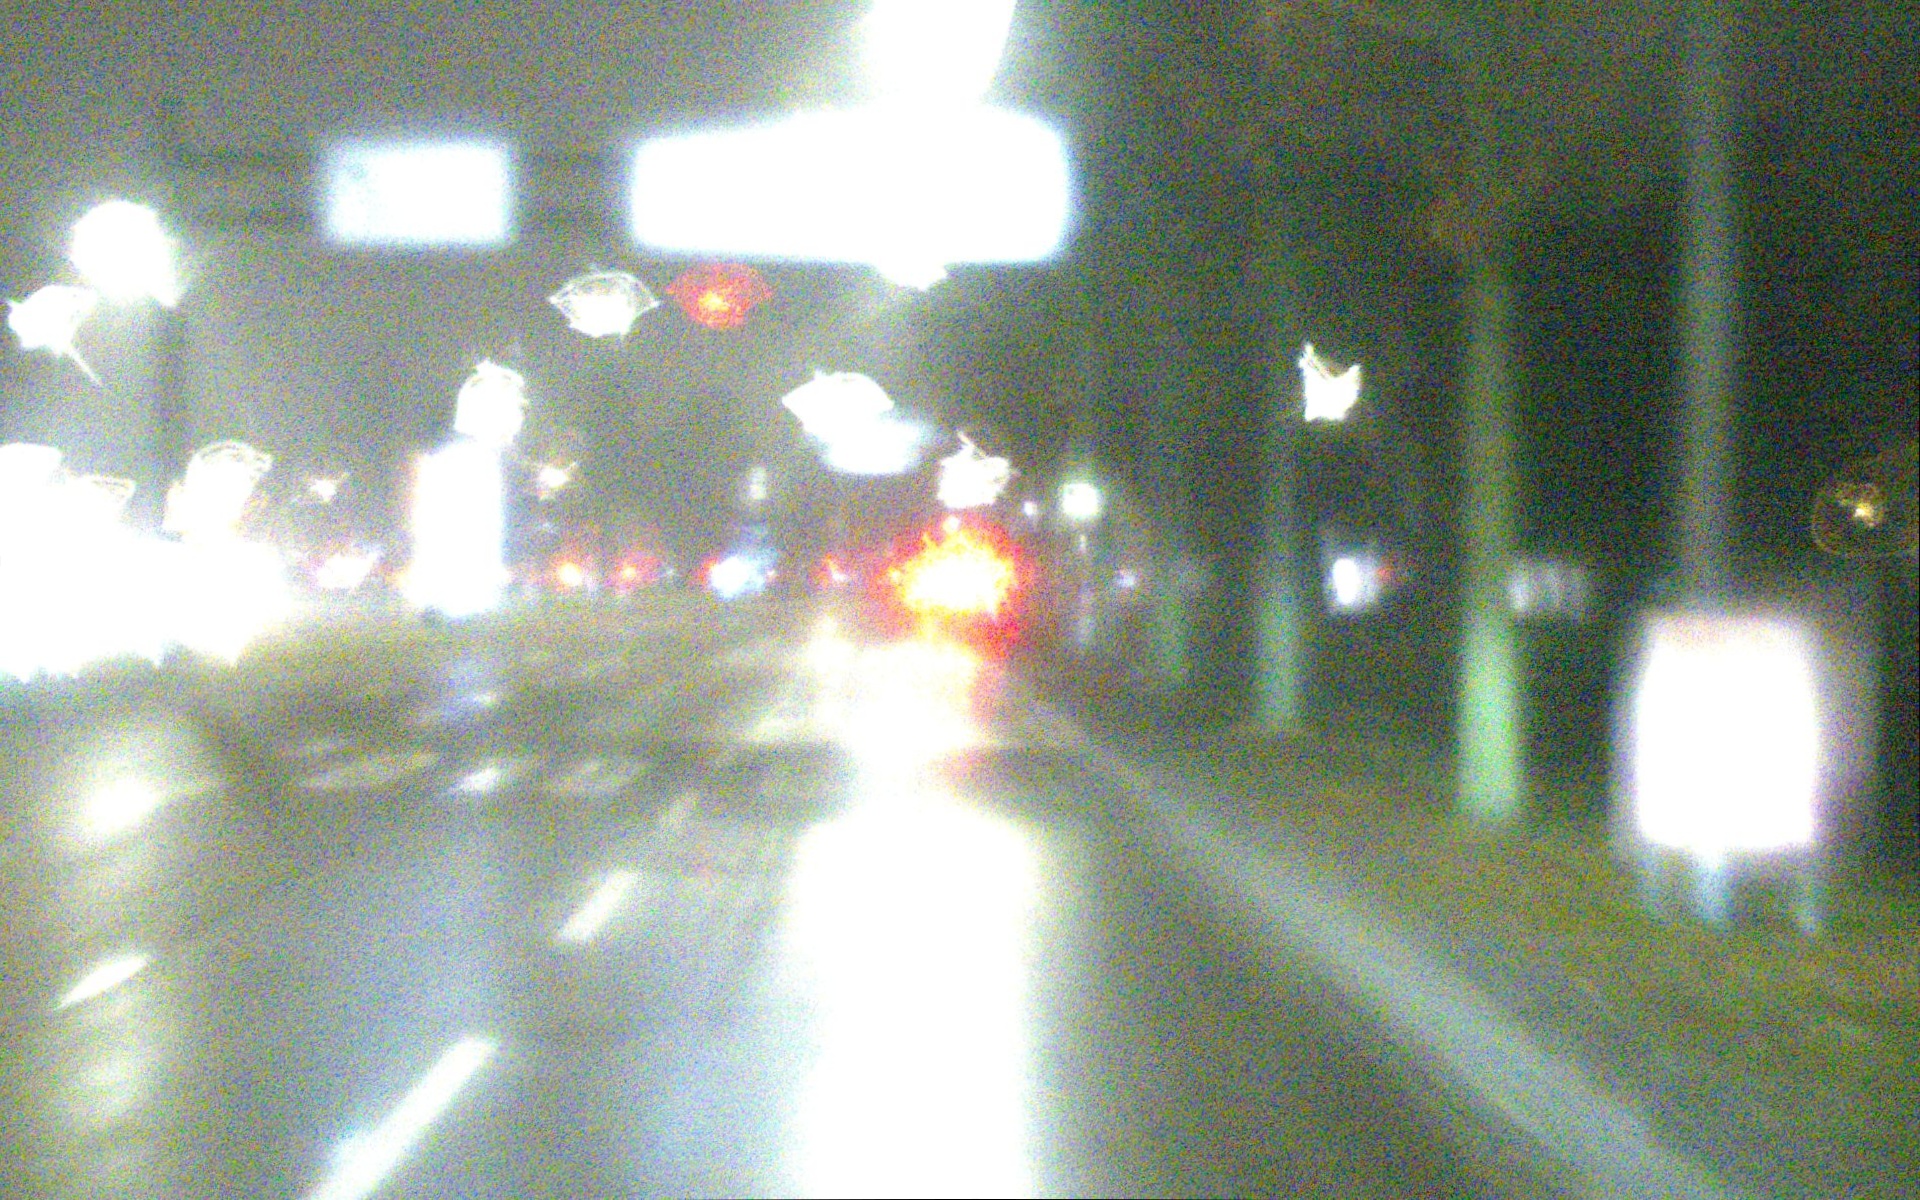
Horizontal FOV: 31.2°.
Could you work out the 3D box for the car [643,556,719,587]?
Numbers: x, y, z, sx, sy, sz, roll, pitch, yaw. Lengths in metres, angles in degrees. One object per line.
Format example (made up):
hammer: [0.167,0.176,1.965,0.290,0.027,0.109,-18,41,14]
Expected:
car: [-14.827,-1.521,182.571,3.951,1.573,1.737,1,1,-4]

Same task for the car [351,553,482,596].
car: [-28.549,-1.348,180.552,6.292,2.082,2.516,1,1,-26]
